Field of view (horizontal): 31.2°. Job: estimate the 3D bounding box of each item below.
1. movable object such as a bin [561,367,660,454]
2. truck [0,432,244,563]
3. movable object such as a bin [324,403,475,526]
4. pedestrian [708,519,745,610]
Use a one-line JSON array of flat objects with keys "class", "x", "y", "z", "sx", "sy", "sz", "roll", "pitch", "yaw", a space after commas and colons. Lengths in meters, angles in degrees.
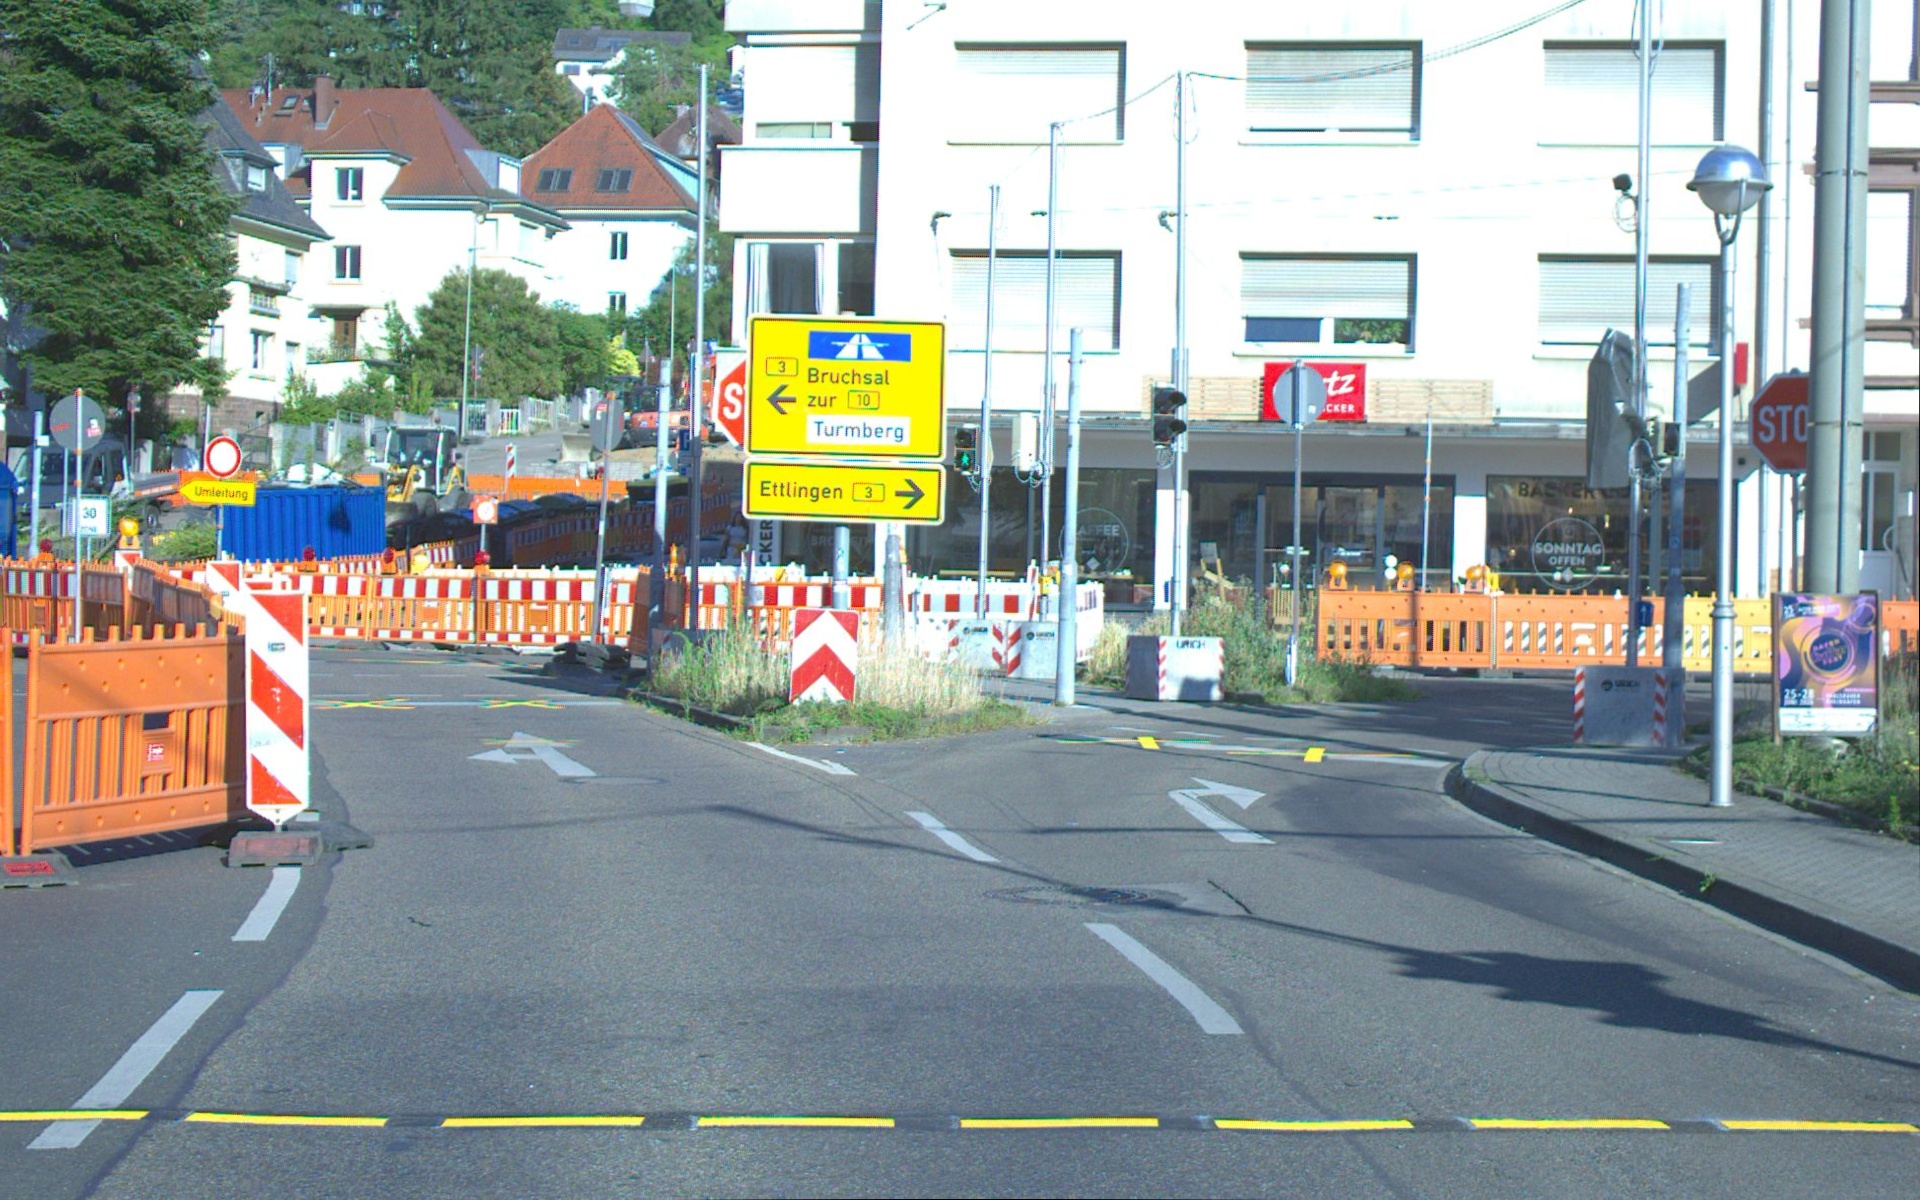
[{"class": "movable object such as a bin", "x": -11.548, "y": -6.245, "z": 113.730, "sx": 2.191, "sy": 2.681, "sz": 3.998, "roll": 1, "pitch": 1, "yaw": 10}, {"class": "truck", "x": -17.223, "y": -1.981, "z": 68.637, "sx": 2.357, "sy": 2.407, "sz": 9.147, "roll": 1, "pitch": 1, "yaw": 11}, {"class": "movable object such as a bin", "x": -12.882, "y": -3.095, "z": 79.233, "sx": 2.191, "sy": 2.681, "sz": 3.998, "roll": 1, "pitch": 1, "yaw": 10}, {"class": "pedestrian", "x": -4.551, "y": -0.702, "z": 67.106, "sx": 0.640, "sy": 1.754, "sz": 0.718, "roll": 1, "pitch": 1, "yaw": -1}]
